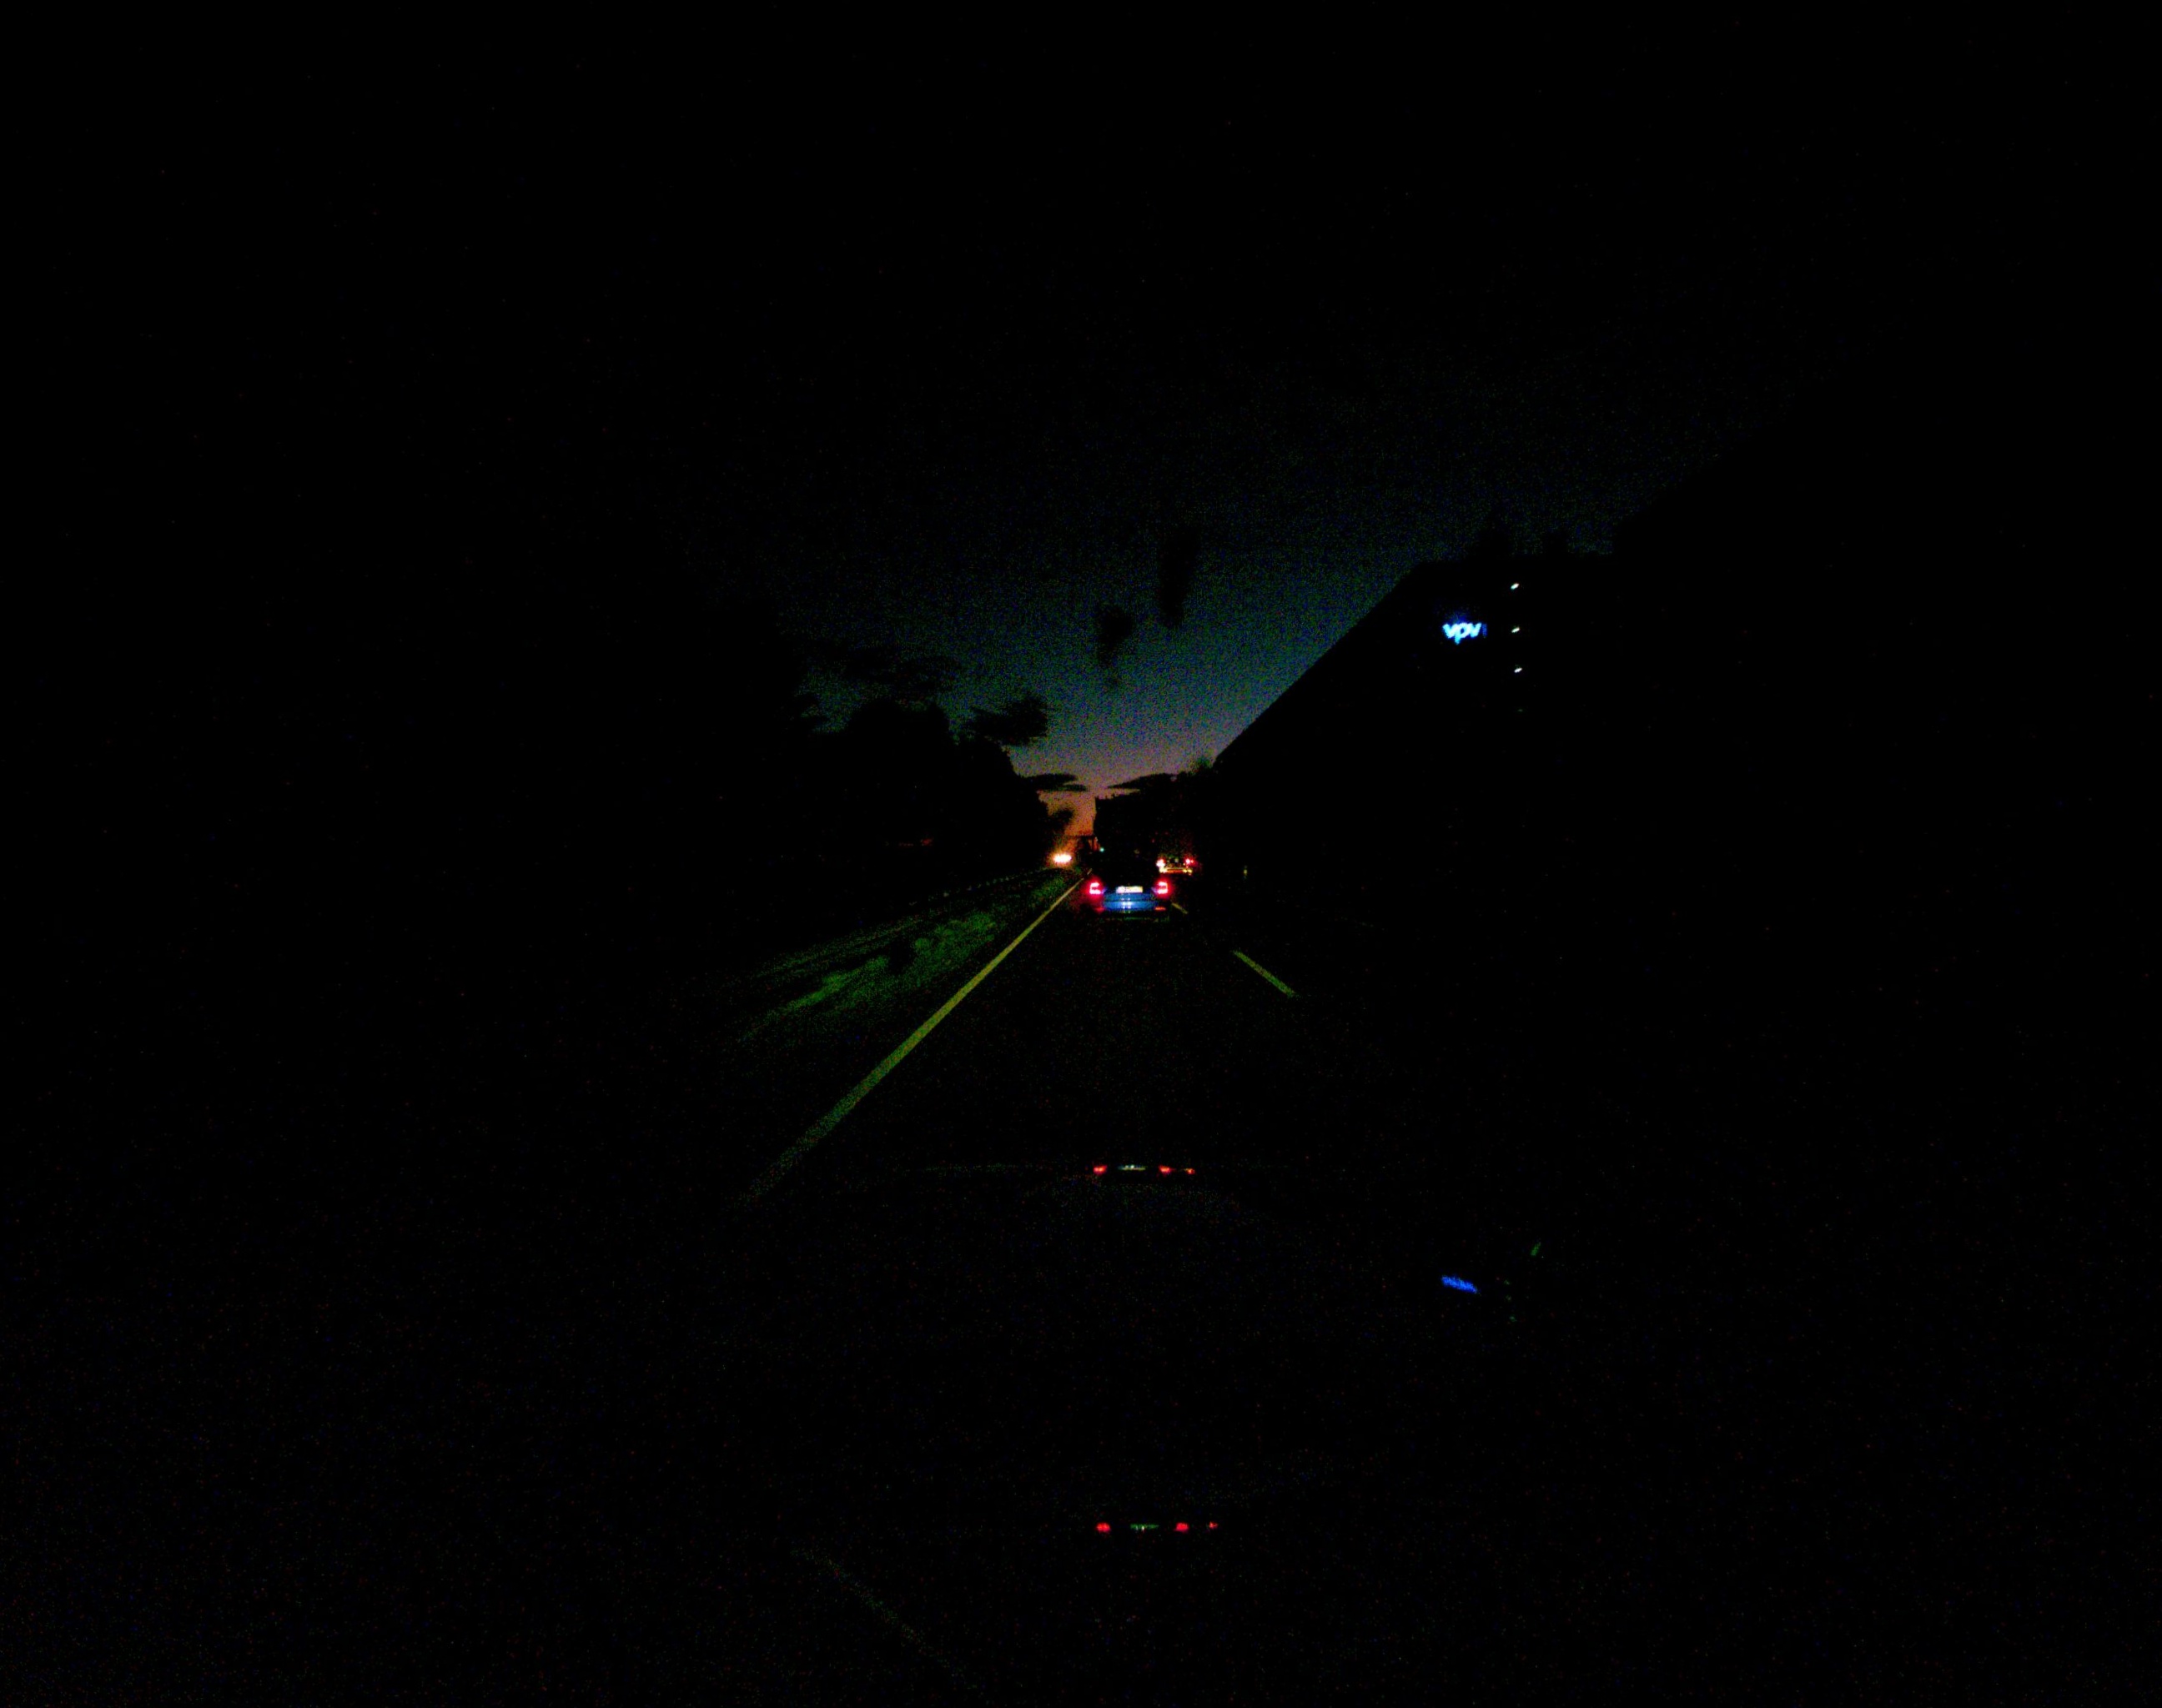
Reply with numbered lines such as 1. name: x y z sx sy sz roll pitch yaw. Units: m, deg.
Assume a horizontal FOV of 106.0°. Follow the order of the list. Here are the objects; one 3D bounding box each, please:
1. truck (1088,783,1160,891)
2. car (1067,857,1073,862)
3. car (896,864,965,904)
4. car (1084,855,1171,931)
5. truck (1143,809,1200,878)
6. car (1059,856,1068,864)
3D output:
1. truck: 1.831 -0.605 37.514 2.677 4.106 13.146 -1 0 2
2. car: -3.118 1.514 227.131 1.611 1.507 3.870 -1 0 2
3. car: -5.762 1.096 31.664 1.713 1.407 4.576 -1 0 2
4. car: 0.962 0.761 17.740 1.689 1.452 3.915 -1 0 2
5. truck: 5.950 -0.599 55.587 2.872 4.106 12.688 -1 0 2
6. car: -3.611 1.253 169.642 1.676 1.587 4.168 -1 0 2
